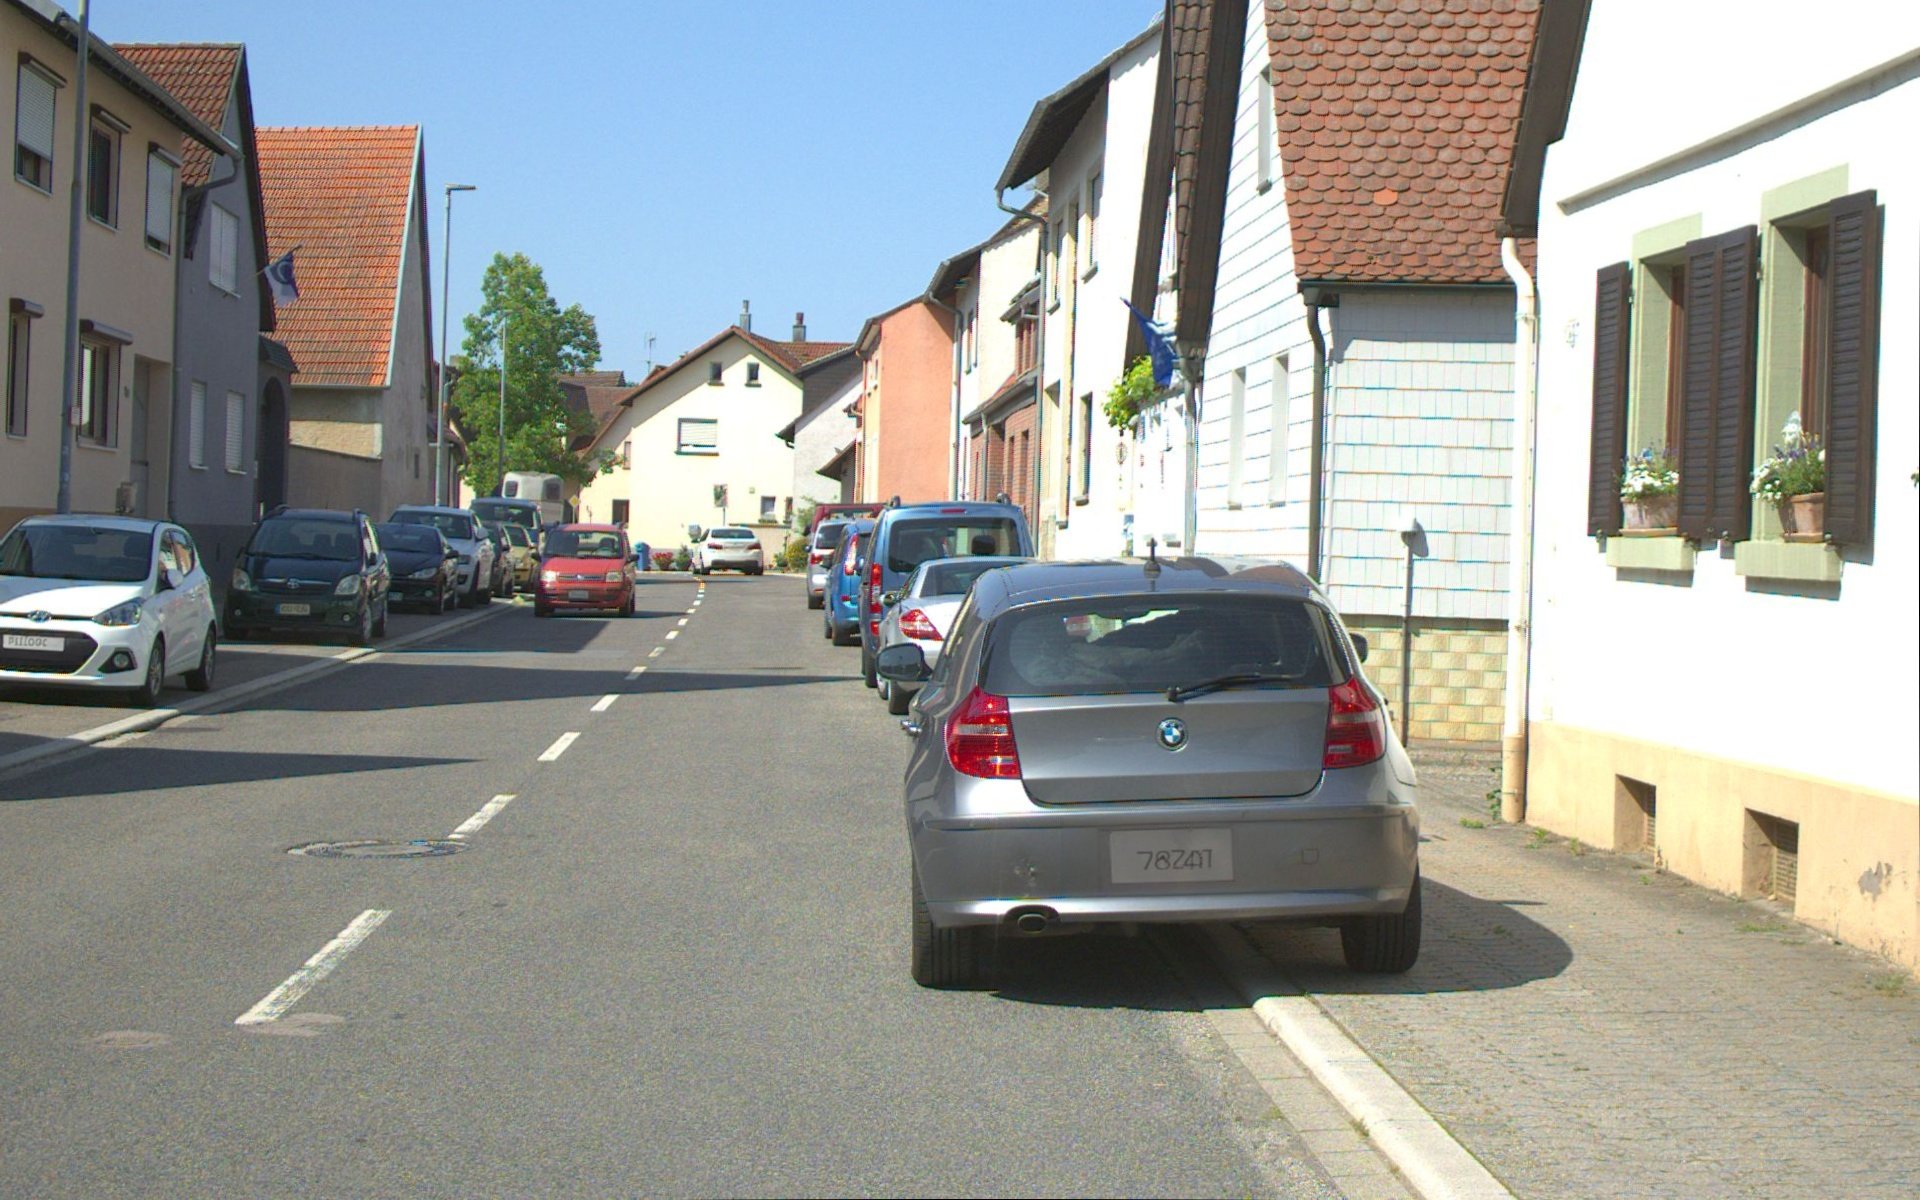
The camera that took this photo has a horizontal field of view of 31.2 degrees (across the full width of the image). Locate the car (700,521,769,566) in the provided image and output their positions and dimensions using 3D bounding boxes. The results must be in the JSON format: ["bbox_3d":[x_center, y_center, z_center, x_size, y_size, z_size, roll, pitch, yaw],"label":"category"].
[{"bbox_3d":[-6.769,-1.689,103.367,1.993,1.284,4.000,1,1,-3],"label":"car"}]

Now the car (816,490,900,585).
[{"bbox_3d":[-2.271,-1.371,75.927,1.767,1.997,3.450,1,0,-2],"label":"car"}]

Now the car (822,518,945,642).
[{"bbox_3d":[-1.041,-0.282,45.342,1.420,1.510,3.304,3,1,-3],"label":"car"}]

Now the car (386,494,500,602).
[{"bbox_3d":[-8.776,-0.887,58.519,1.527,1.707,3.626,3,1,-3],"label":"car"}]

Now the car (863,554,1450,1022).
[{"bbox_3d":[0.565,0.557,12.676,1.704,1.428,3.890,-1,1,-3],"label":"car"}]

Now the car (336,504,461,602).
[{"bbox_3d":[-8.808,-0.737,54.100,1.504,1.448,3.509,1,1,-2],"label":"car"}]

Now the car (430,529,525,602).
[{"bbox_3d":[-9.538,-0.697,68.170,1.527,1.351,3.626,3,1,-3],"label":"car"}]

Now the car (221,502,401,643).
[{"bbox_3d":[-7.929,-0.354,42.301,1.619,1.572,3.962,3,1,-3],"label":"car"}]

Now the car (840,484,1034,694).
[{"bbox_3d":[-0.281,-0.134,34.226,1.649,1.903,3.626,3,1,-3],"label":"car"}]

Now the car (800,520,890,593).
[{"bbox_3d":[-2.375,-0.893,70.583,1.767,1.428,3.450,1,1,-2],"label":"car"}]

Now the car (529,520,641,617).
[{"bbox_3d":[-6.198,-0.531,57.060,1.601,1.484,3.626,3,1,-3],"label":"car"}]

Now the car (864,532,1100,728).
[{"bbox_3d":[0.126,0.211,29.181,1.704,1.491,3.453,3,1,-3],"label":"car"}]

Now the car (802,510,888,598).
[{"bbox_3d":[-2.121,-0.845,62.767,1.420,1.510,3.304,3,1,-3],"label":"car"}]

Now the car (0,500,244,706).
[{"bbox_3d":[-7.339,-0.027,28.838,1.806,1.542,4.404,3,1,-2],"label":"car"}]
